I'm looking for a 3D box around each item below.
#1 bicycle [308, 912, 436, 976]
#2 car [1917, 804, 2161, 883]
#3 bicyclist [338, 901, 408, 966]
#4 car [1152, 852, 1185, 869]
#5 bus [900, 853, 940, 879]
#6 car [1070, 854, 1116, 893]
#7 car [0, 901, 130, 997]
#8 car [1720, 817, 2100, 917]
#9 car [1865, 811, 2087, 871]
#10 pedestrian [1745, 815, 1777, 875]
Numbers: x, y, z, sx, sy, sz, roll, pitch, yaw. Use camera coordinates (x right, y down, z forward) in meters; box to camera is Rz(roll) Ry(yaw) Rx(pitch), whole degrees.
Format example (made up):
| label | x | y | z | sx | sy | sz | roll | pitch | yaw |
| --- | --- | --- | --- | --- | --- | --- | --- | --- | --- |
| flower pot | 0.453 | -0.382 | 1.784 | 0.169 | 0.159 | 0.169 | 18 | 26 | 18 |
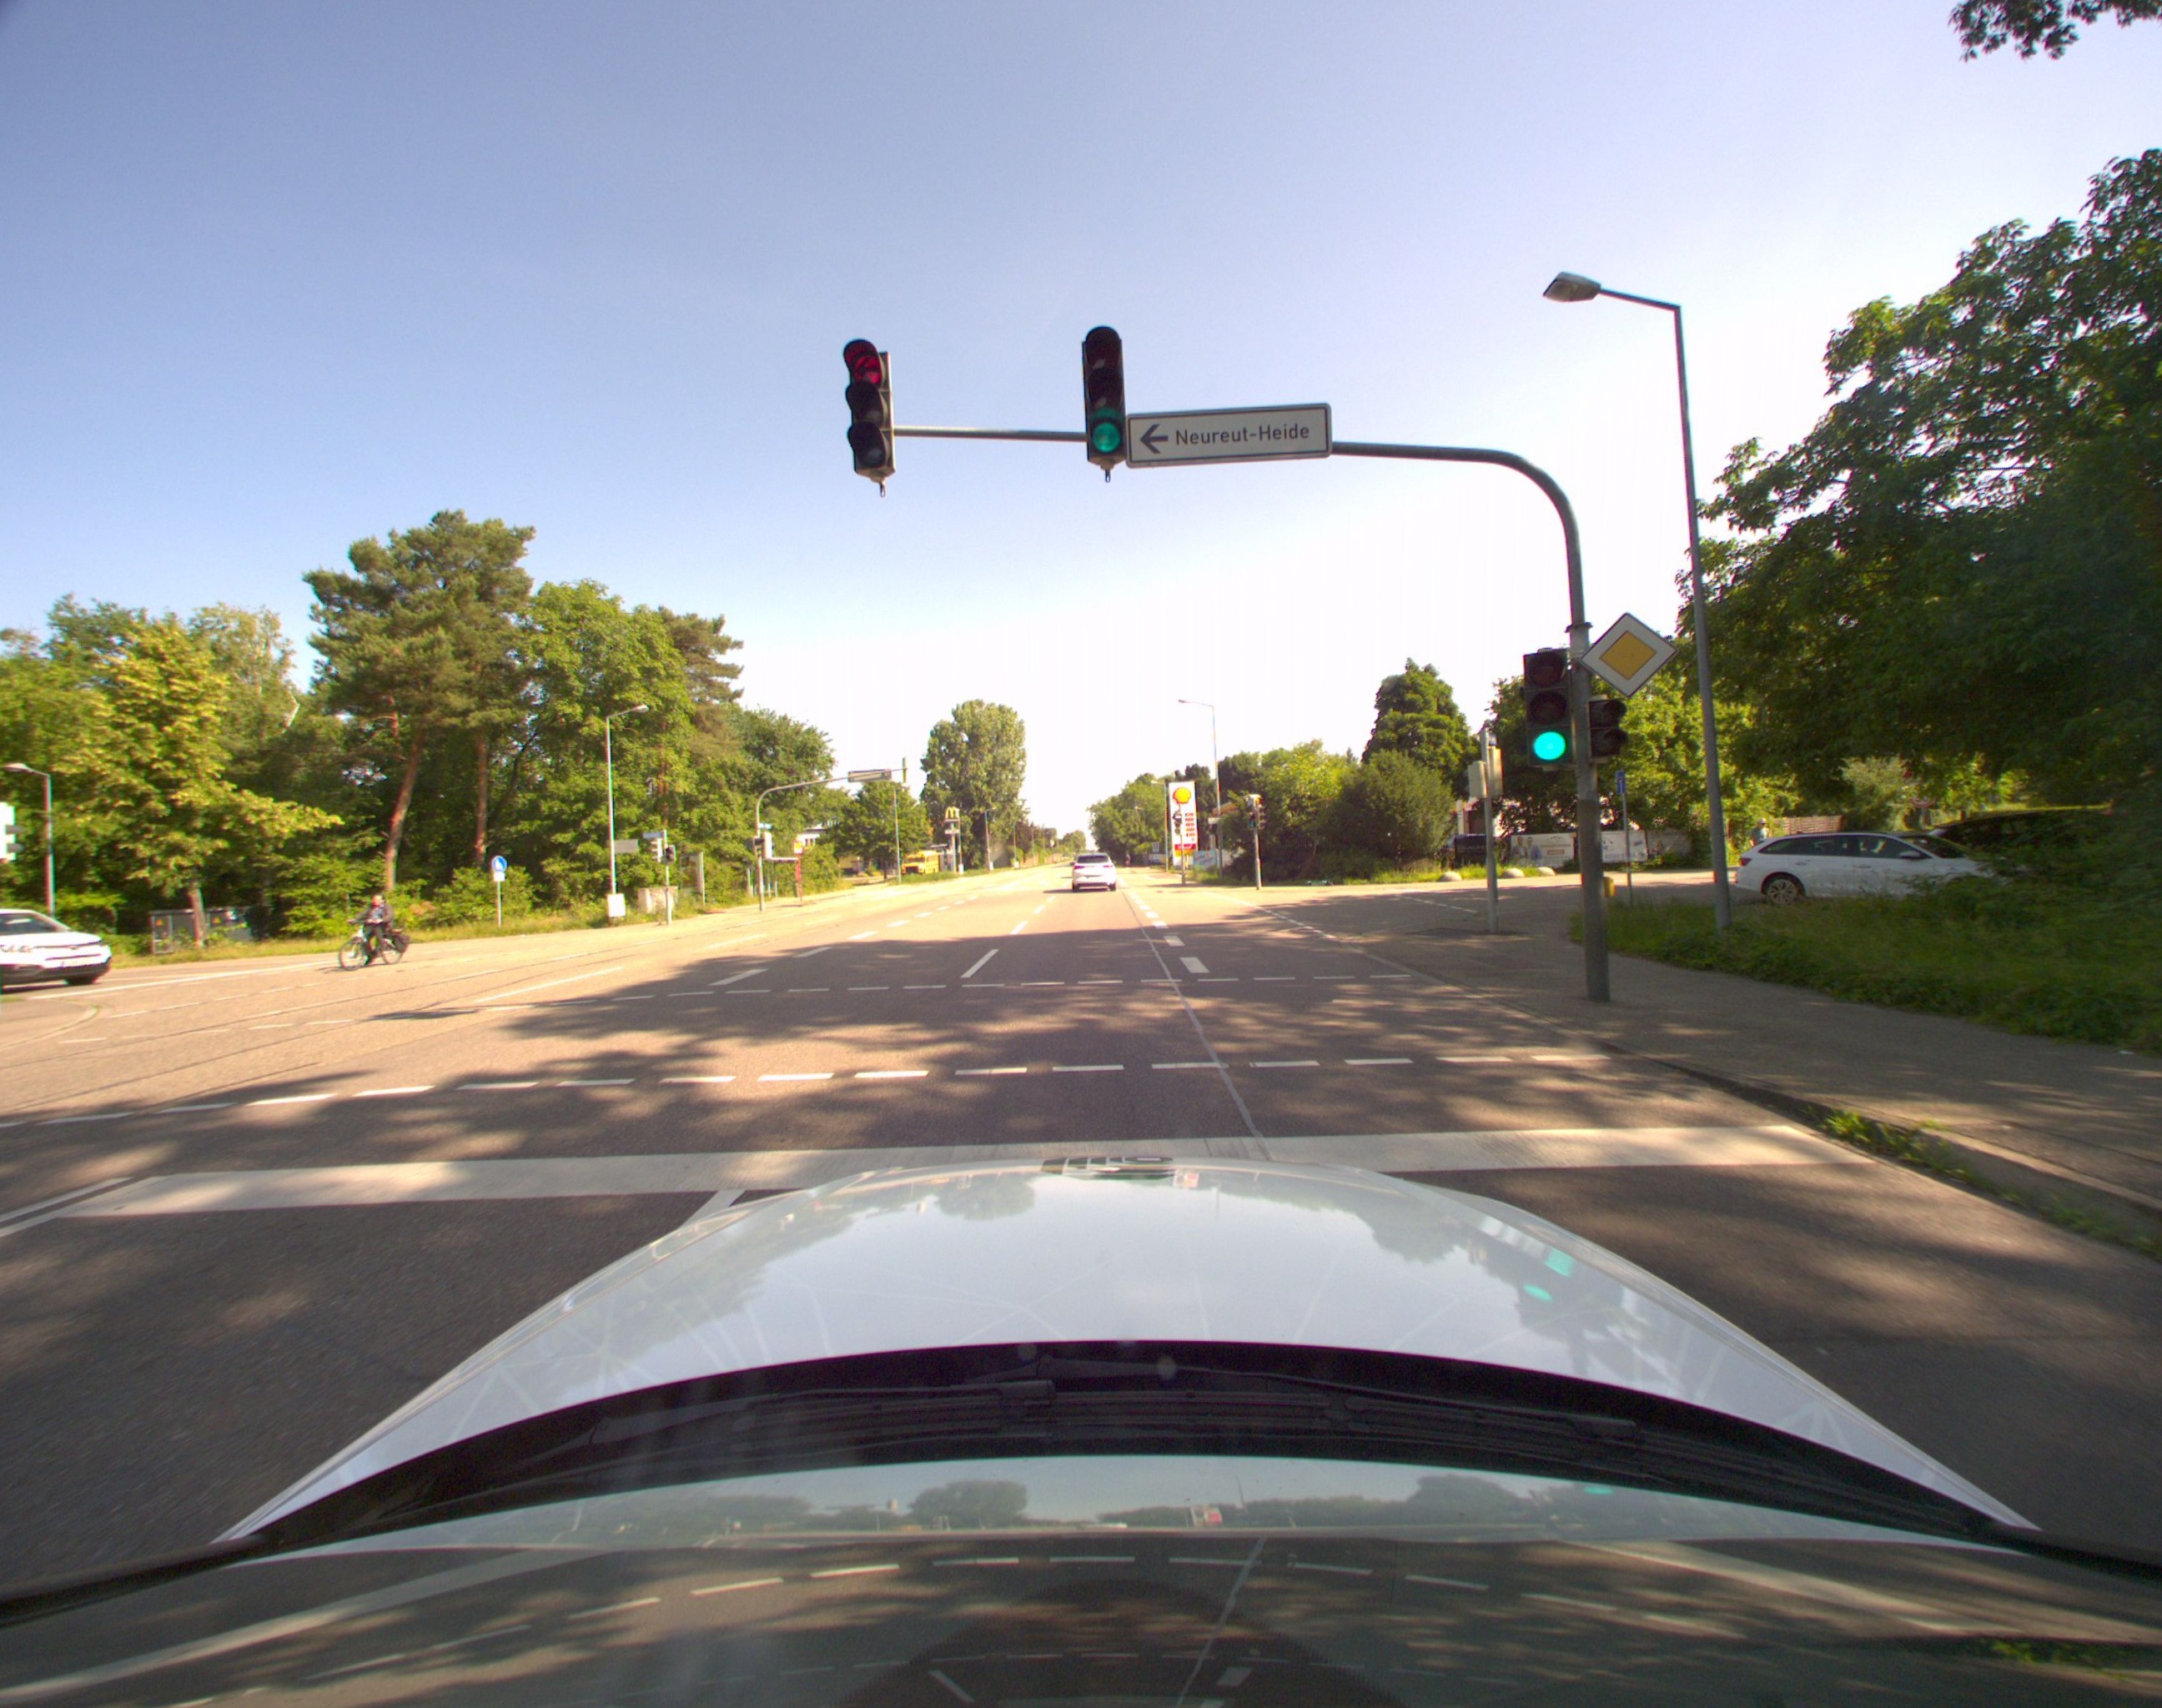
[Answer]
| label | x | y | z | sx | sy | sz | roll | pitch | yaw |
| --- | --- | --- | --- | --- | --- | --- | --- | --- | --- |
| bicycle | -15.638 | 1.956 | 18.075 | 0.730 | 1.163 | 2.372 | -3 | -1 | 0 |
| car | 20.837 | -0.212 | 17.463 | 3.741 | 1.464 | 1.639 | -3 | 0 | 33 |
| bicyclist | -15.636 | 1.735 | 18.003 | 0.719 | 1.311 | 0.883 | -3 | 0 | -1 |
| car | 8.472 | 0.615 | 78.779 | 1.587 | 1.530 | 2.697 | 0 | -2 | -45 |
| bus | -17.264 | 1.262 | 87.809 | 2.571 | 2.679 | 8.993 | -1 | -1 | -1 |
| car | 0.538 | 0.810 | 35.052 | 1.840 | 1.541 | 4.225 | -1 | -1 | 1 |
| car | -23.260 | 2.076 | 16.986 | 4.630 | 1.778 | 1.853 | -4 | -1 | 1 |
| car | 14.703 | 0.231 | 14.881 | 1.628 | 1.464 | 4.585 | -3 | 0 | -19 |
| car | 24.965 | -0.327 | 22.860 | 1.635 | 1.464 | 3.945 | -3 | 0 | -34 |
| pedestrian | 18.963 | -0.262 | 22.711 | 0.602 | 1.629 | 0.417 | -4 | 0 | 39 |
